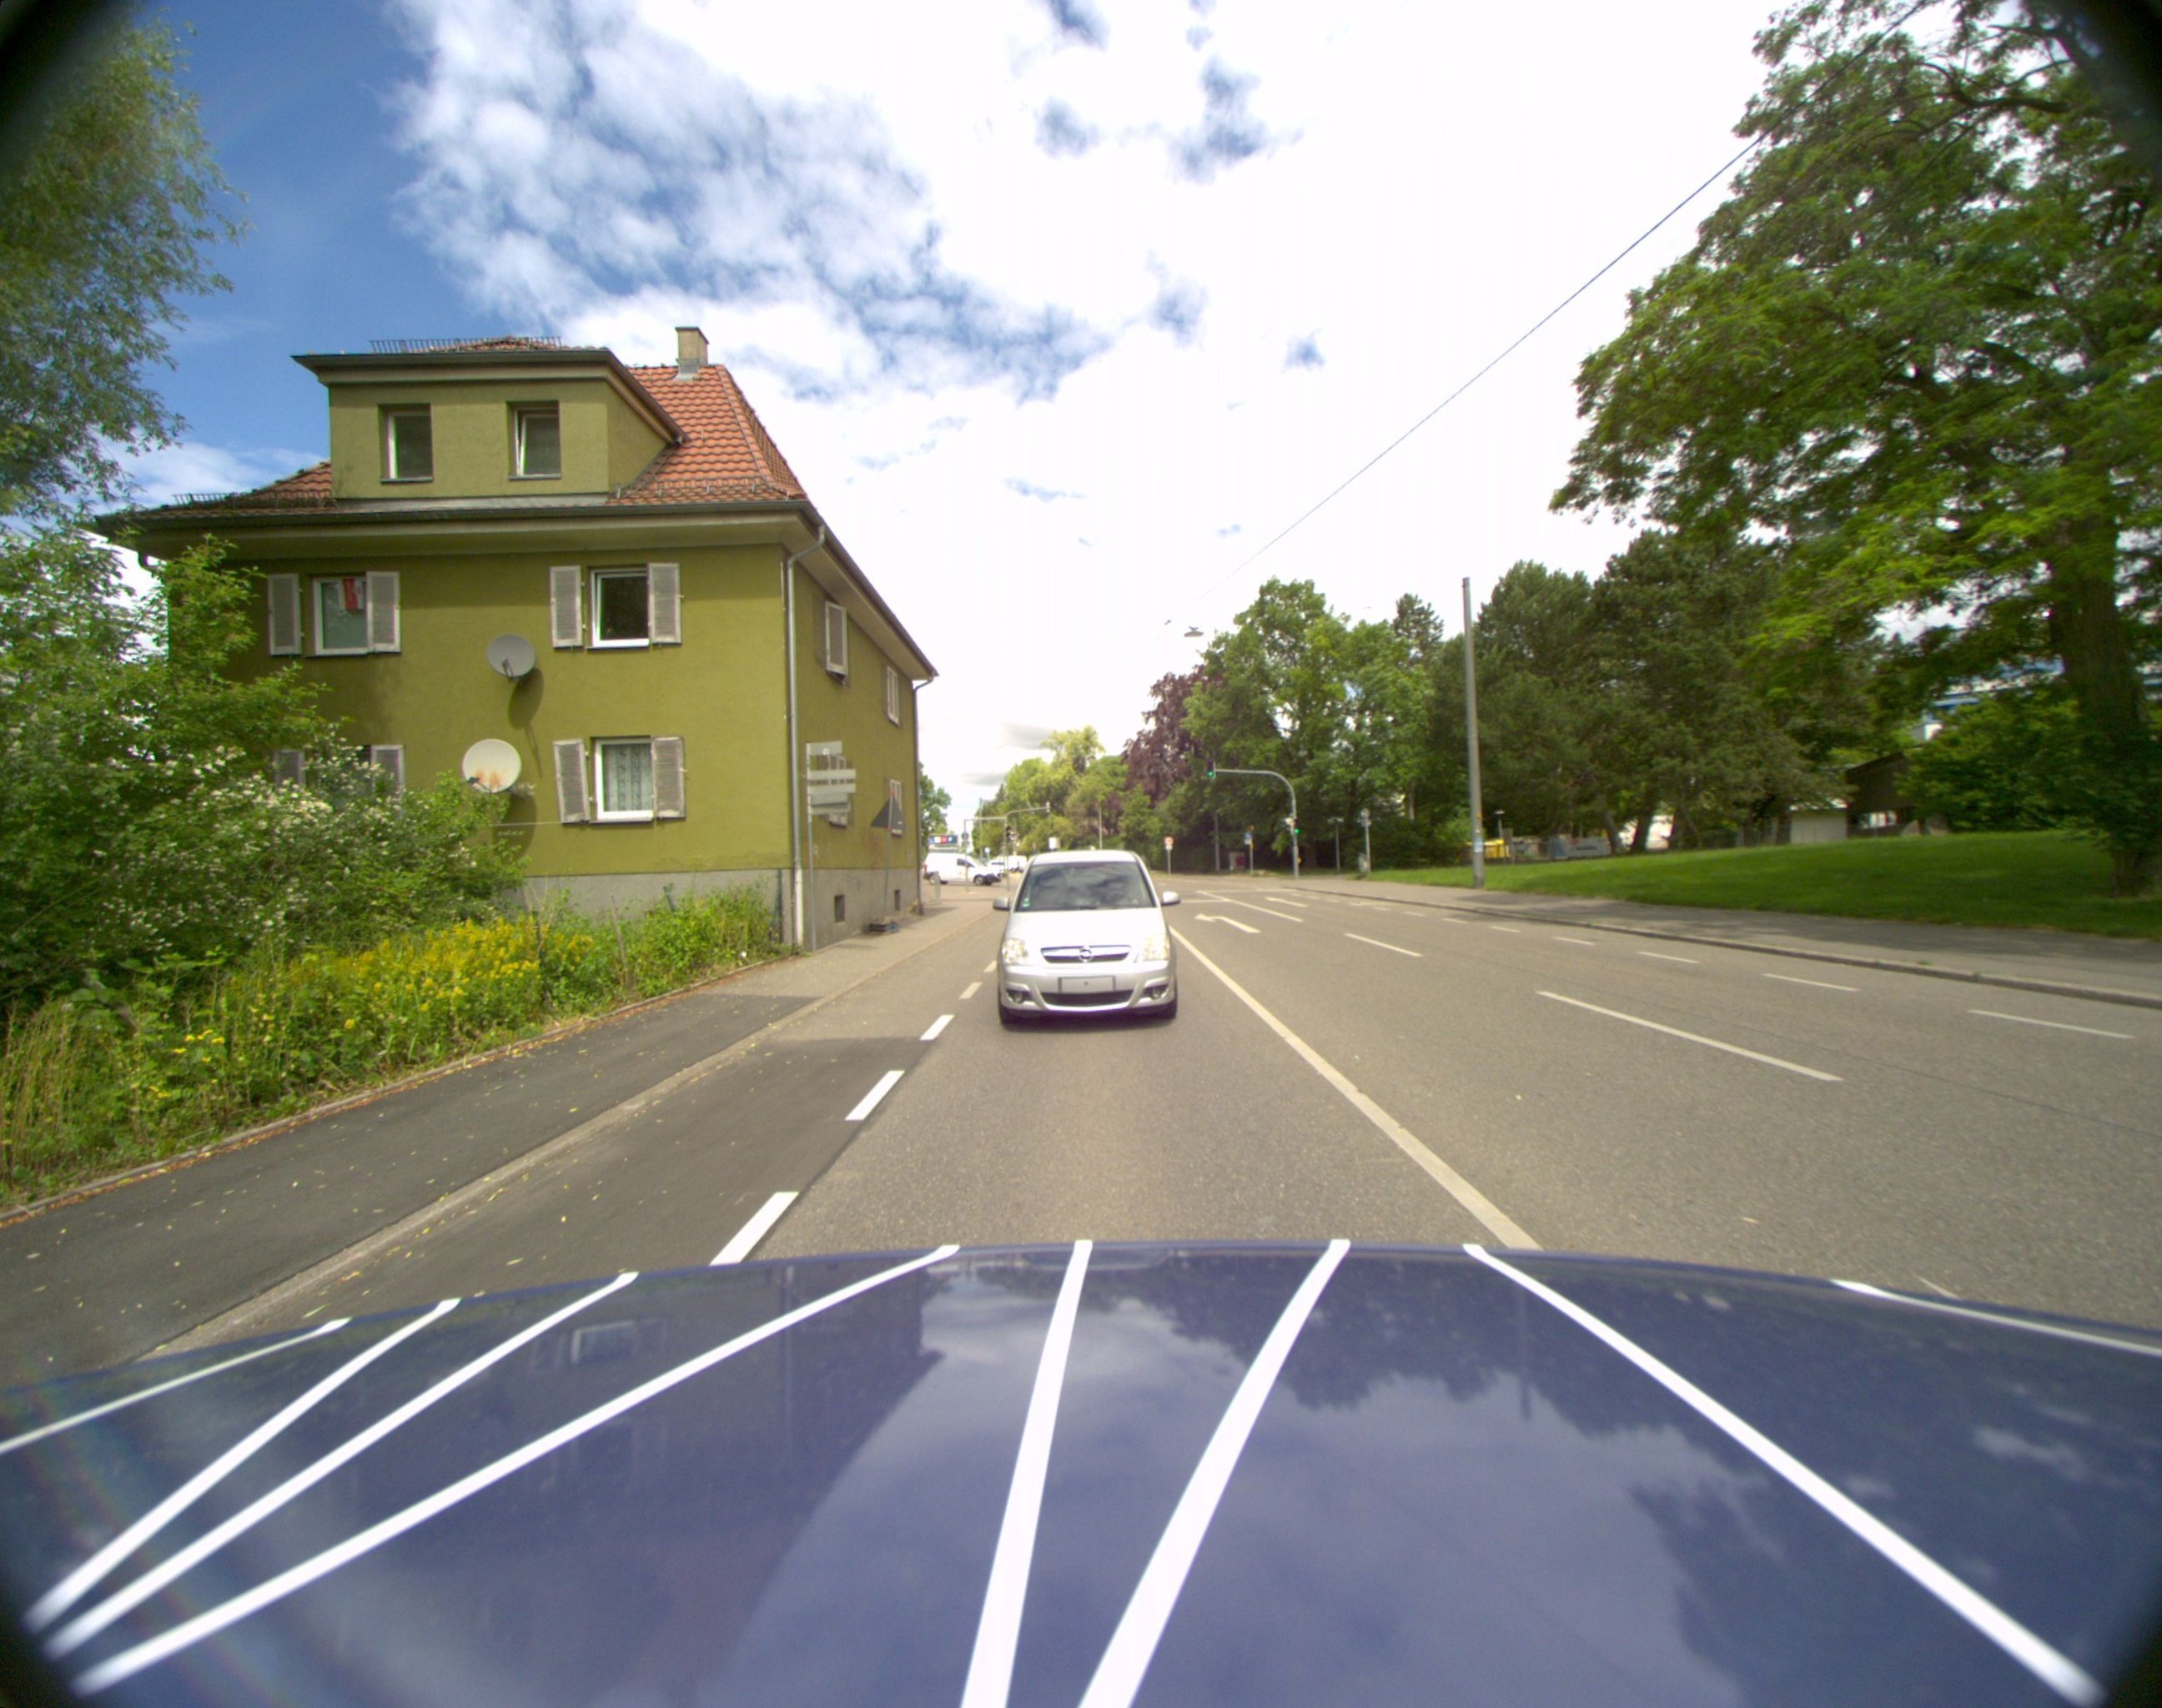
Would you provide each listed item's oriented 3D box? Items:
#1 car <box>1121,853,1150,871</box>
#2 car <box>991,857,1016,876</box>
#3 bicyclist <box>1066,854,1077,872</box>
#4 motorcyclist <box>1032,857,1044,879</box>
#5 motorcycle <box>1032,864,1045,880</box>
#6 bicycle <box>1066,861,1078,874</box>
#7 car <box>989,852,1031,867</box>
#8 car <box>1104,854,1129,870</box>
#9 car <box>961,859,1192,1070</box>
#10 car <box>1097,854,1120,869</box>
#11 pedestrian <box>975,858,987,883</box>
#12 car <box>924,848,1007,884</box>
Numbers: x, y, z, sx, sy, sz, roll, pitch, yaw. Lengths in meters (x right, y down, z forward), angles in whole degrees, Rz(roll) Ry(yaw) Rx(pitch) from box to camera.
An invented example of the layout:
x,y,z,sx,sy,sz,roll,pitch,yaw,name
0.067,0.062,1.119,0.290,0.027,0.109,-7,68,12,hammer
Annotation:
x,y,z,sx,sy,sz,roll,pitch,yaw,name
4.808,0.689,67.626,1.900,1.501,3.997,-1,0,-7,car
-7.026,1.107,69.167,1.799,1.502,3.998,-1,2,0,car
-0.880,0.854,70.811,0.808,1.599,0.771,-4,1,-11,bicyclist
-3.118,1.034,55.321,0.837,1.547,0.650,0,1,-1,motorcyclist
-3.113,1.322,55.468,0.837,1.101,1.800,0,1,-1,motorcycle
-0.840,1.249,70.746,0.814,1.101,1.798,-4,0,-10,bicycle
-8.336,0.653,89.466,4.493,1.787,1.803,0,1,20,car
3.600,0.809,77.308,1.900,1.501,3.997,-1,0,-7,car
0.004,0.902,8.088,1.780,1.519,3.999,-3,1,1,car
2.975,0.777,82.051,1.900,1.501,3.997,-1,0,-7,car
-6.510,1.067,49.524,0.729,1.543,1.056,-2,0,-10,pedestrian
-6.708,0.679,44.439,4.364,1.983,2.001,-1,1,9,car
